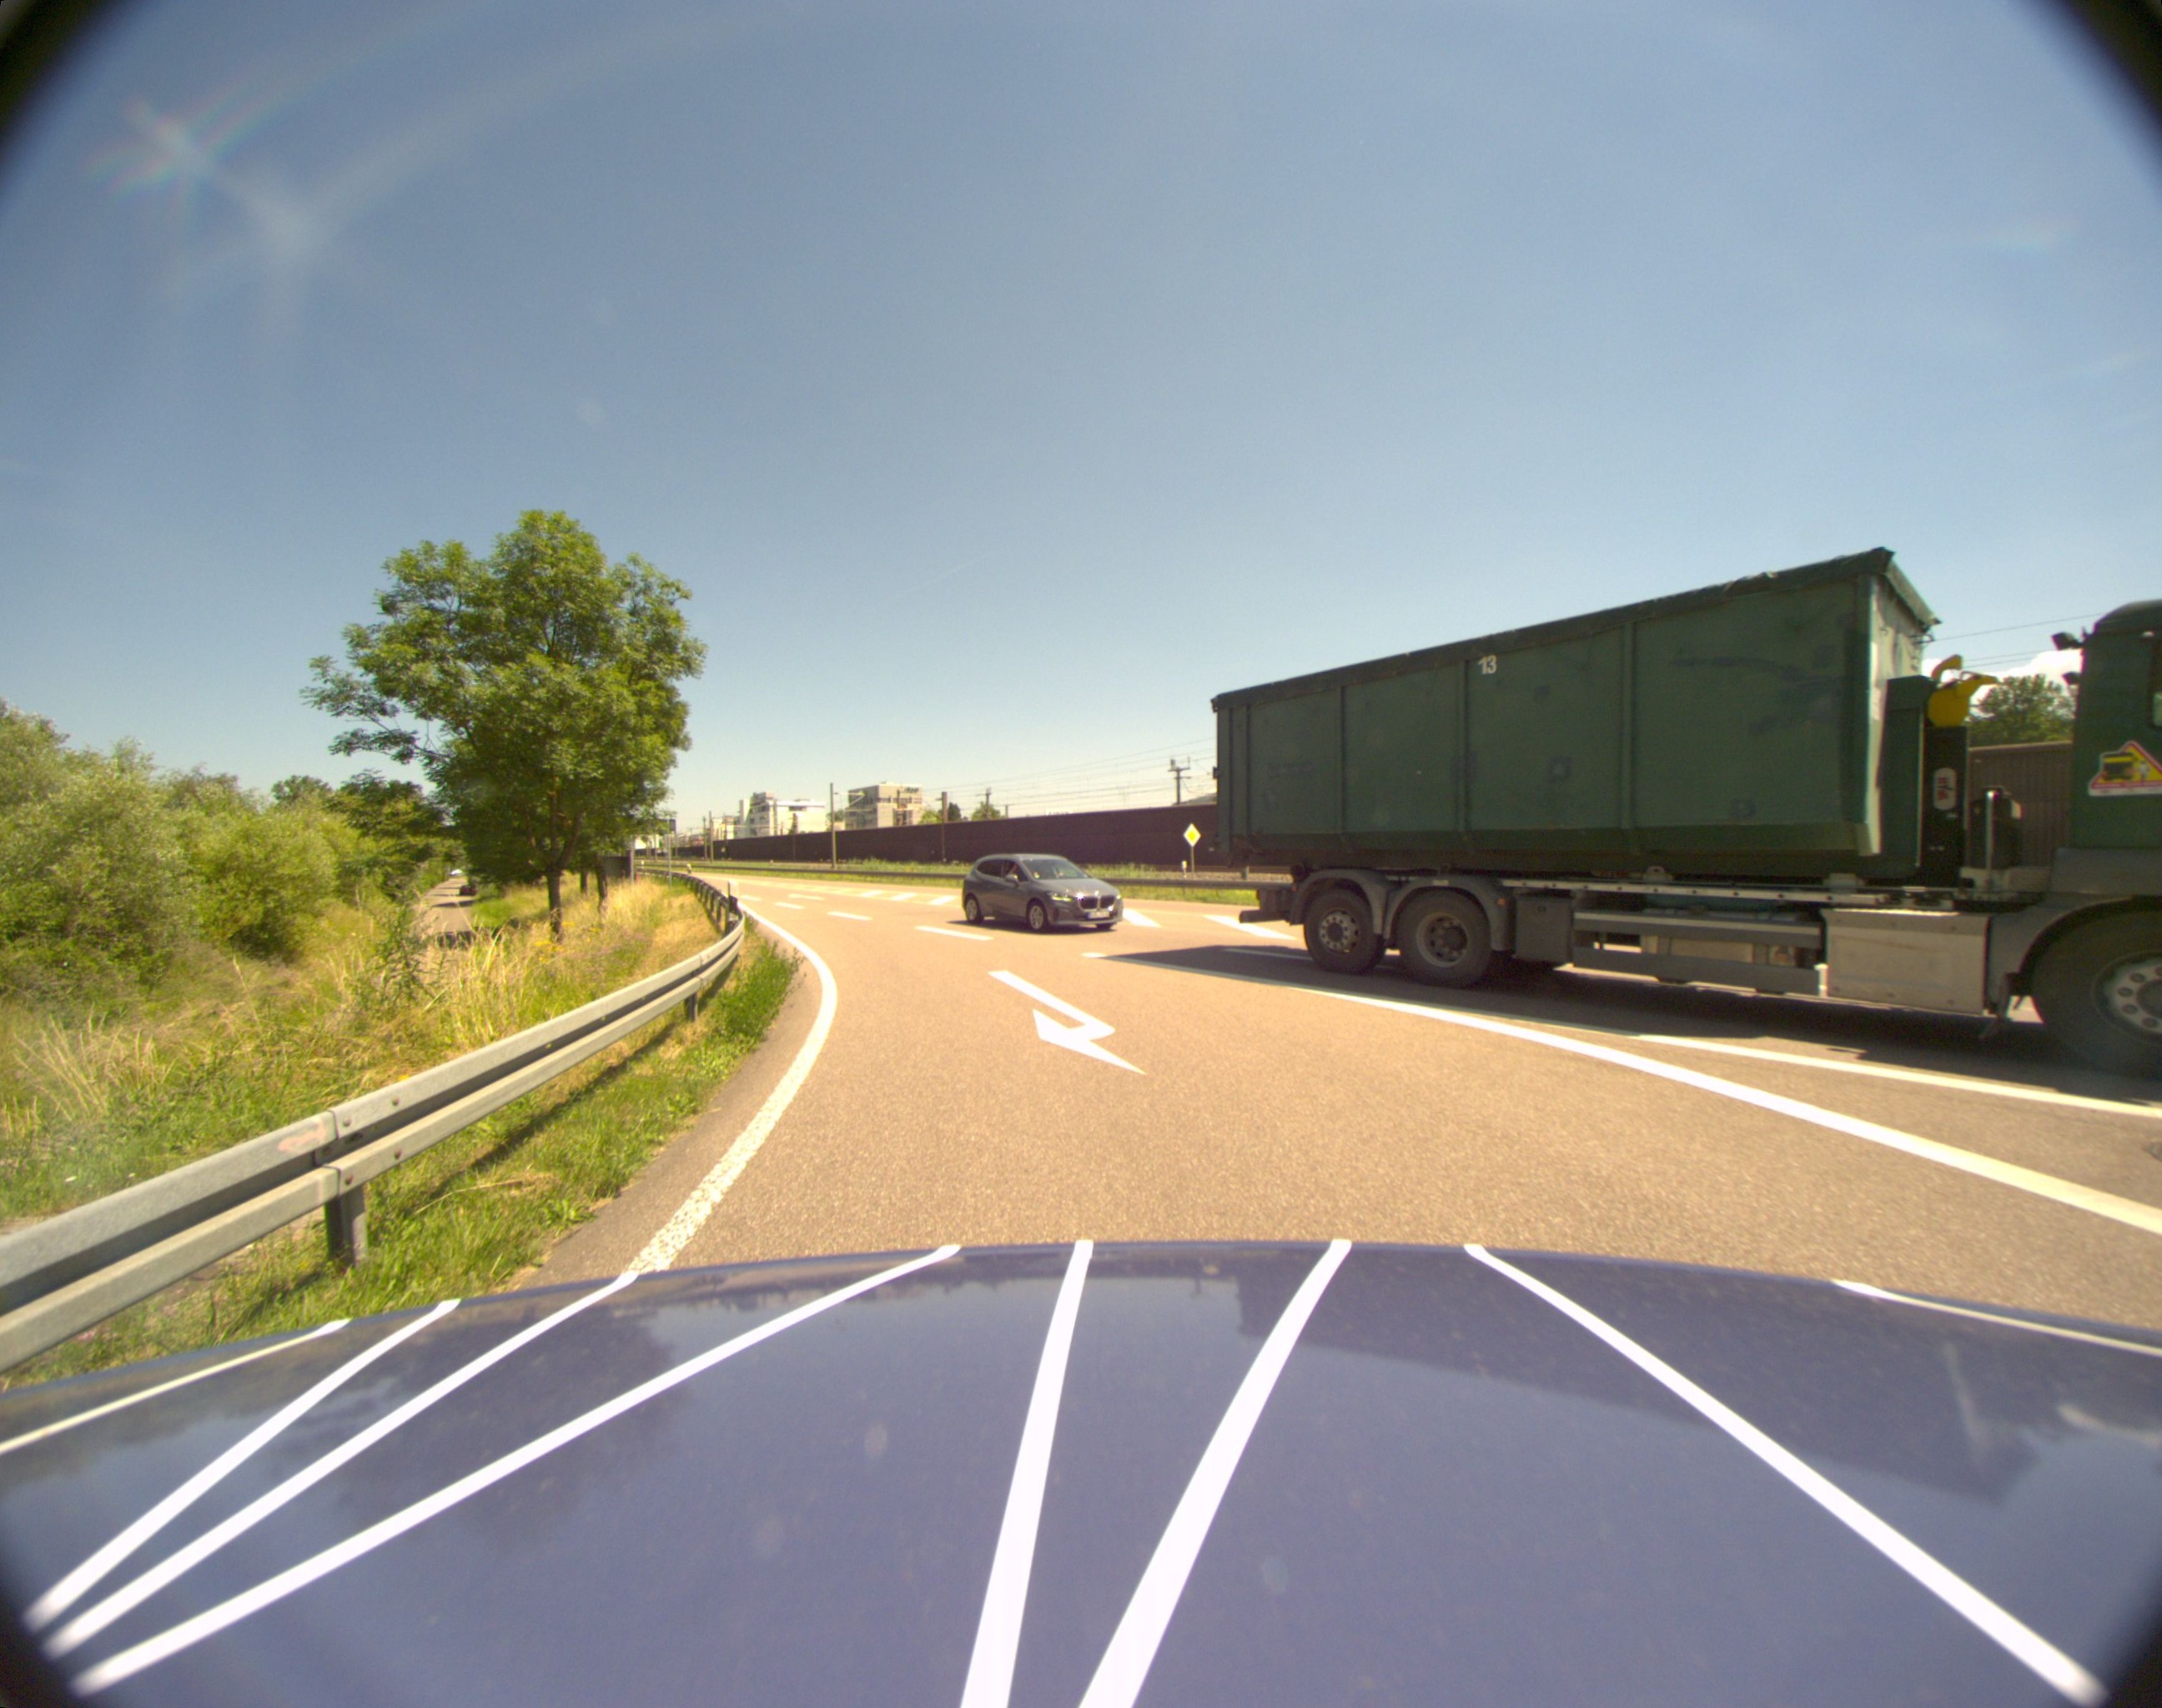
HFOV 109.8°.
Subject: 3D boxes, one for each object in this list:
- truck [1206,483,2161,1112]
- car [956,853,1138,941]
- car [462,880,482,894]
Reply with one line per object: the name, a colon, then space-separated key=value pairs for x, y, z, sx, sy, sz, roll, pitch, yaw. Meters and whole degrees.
truck: x=5.658 y=-0.322 z=7.693 sx=2.603 sy=3.716 sz=9.549 roll=-1 pitch=0 yaw=-36
car: x=-0.858 y=0.804 z=16.310 sx=1.854 sy=1.613 sz=4.214 roll=-1 pitch=1 yaw=-37
car: x=-81.939 y=4.407 z=102.267 sx=2.003 sy=1.674 sz=3.989 roll=-3 pitch=1 yaw=-38
